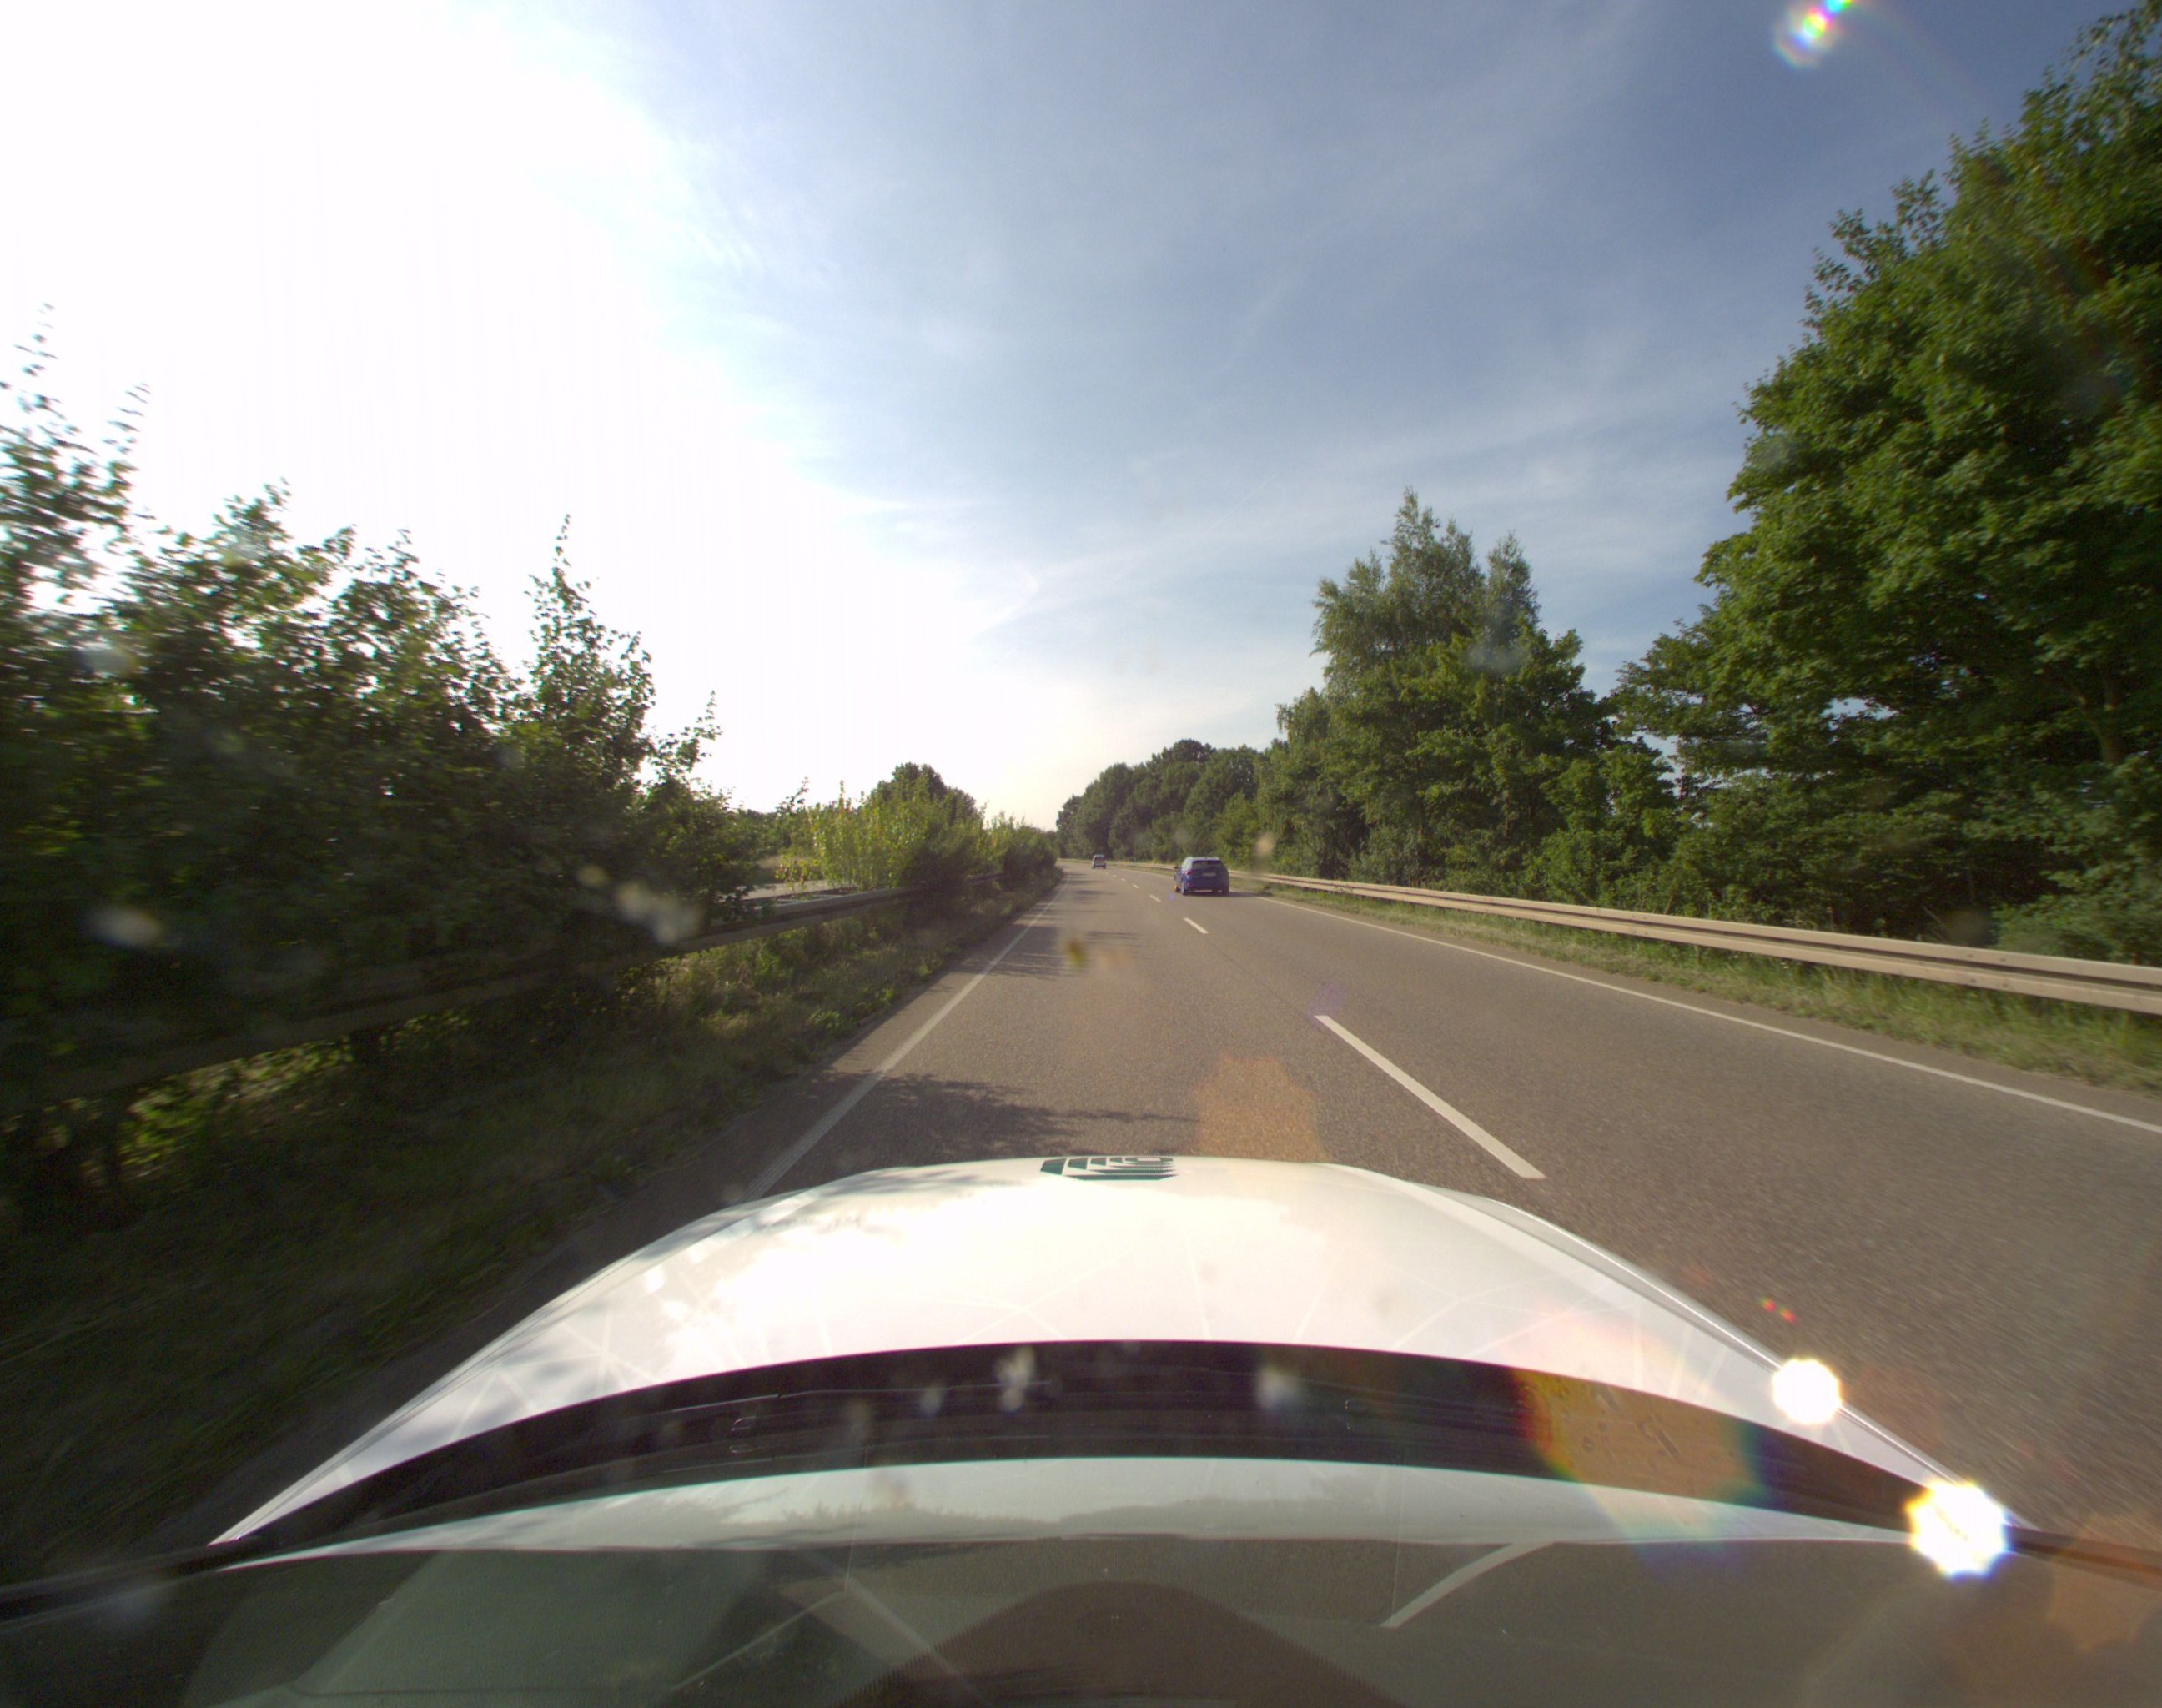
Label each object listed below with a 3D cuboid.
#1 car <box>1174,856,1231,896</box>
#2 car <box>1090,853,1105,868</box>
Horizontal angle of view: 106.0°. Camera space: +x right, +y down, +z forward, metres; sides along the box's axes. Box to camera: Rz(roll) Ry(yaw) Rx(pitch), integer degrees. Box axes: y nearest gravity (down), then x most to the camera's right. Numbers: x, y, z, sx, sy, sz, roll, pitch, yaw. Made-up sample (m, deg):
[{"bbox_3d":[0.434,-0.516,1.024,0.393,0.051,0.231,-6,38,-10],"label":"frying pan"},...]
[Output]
[{"bbox_3d":[4.670,0.805,31.735,1.772,1.451,4.002,0,0,2],"label":"car"},{"bbox_3d":[2.116,0.845,108.525,1.761,1.881,3.997,0,0,-2],"label":"car"}]
